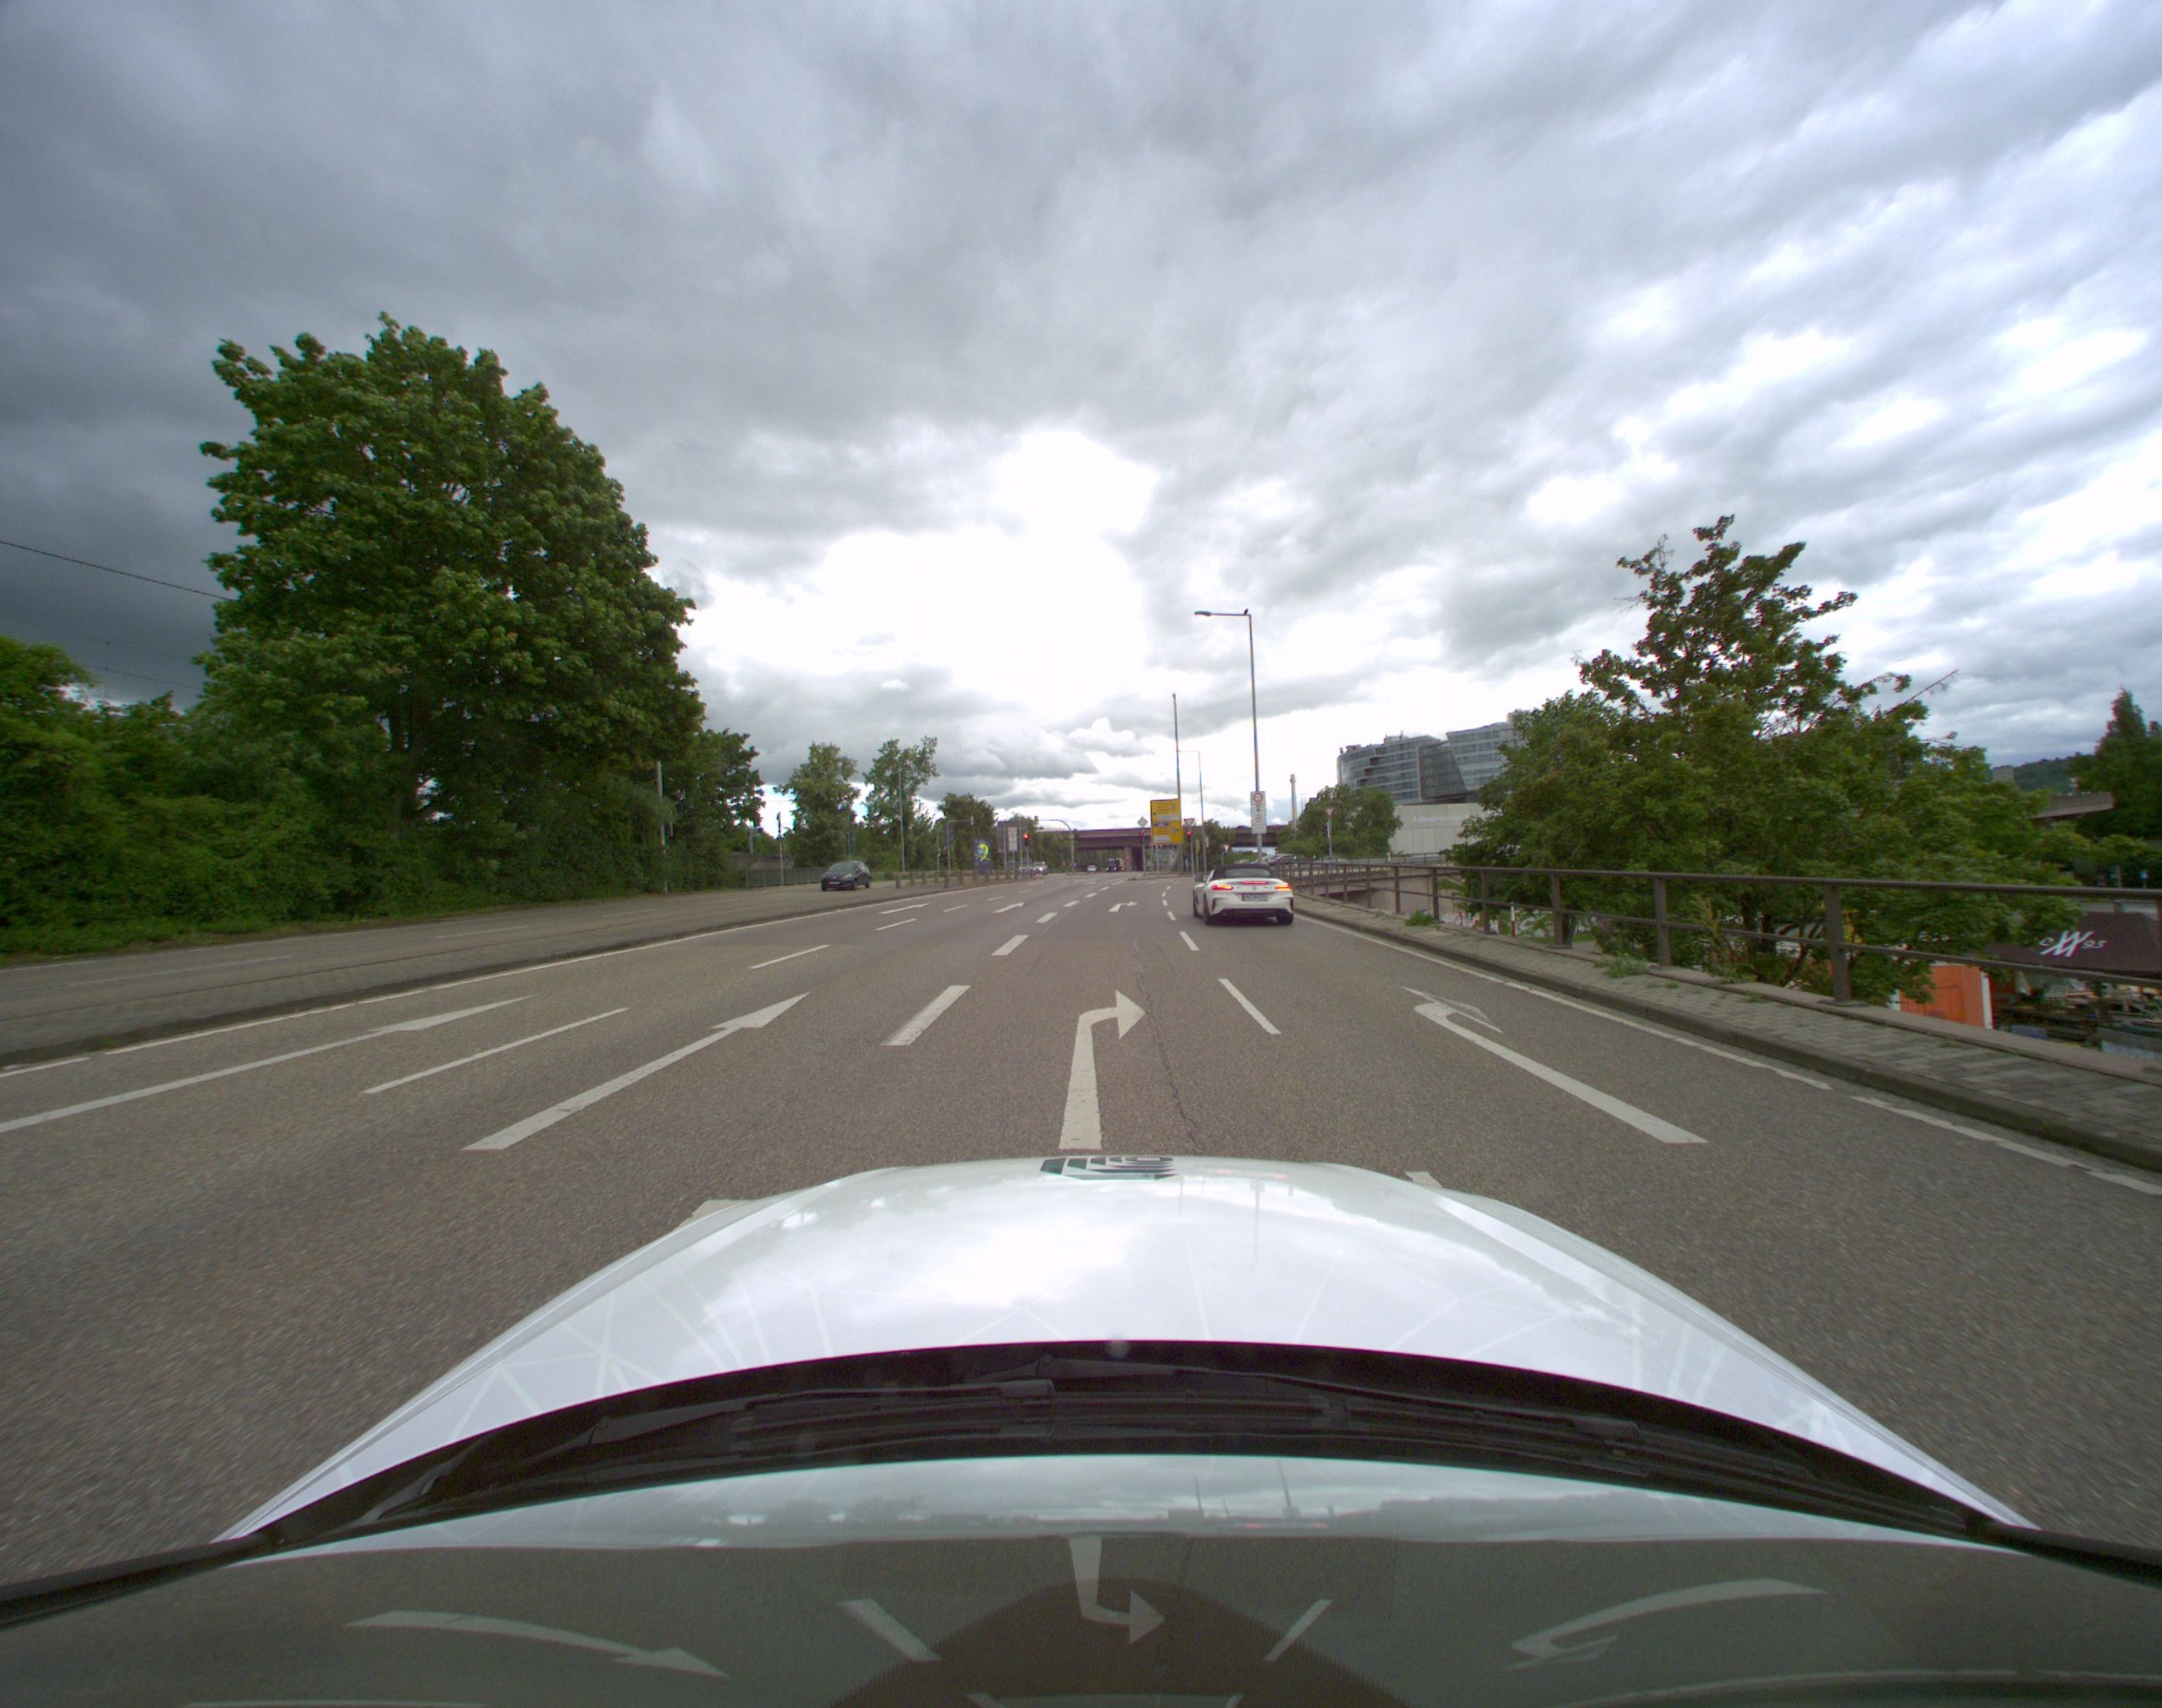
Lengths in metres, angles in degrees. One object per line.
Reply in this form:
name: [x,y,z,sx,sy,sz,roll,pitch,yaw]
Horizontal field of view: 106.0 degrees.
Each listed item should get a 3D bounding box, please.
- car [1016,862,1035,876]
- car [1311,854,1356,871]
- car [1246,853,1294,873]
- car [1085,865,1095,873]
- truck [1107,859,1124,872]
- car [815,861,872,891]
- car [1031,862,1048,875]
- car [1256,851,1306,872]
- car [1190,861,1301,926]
car: [-6.345,1.714,93.618,1.764,1.645,3.827,0,-1,2]
car: [27.540,0.940,88.870,4.349,1.571,2.003,-3,-3,6]
car: [18.955,0.898,81.783,4.349,1.758,2.003,-3,-3,6]
car: [1.755,3.006,162.935,1.732,1.537,3.677,-1,0,5]
truck: [8.923,2.973,209.996,2.905,3.146,10.139,0,-1,10]
car: [-12.026,1.084,41.453,1.753,1.484,3.486,0,0,3]
car: [-5.181,1.838,102.493,1.764,1.633,3.827,0,-1,2]
car: [19.109,0.735,78.010,4.349,1.758,2.003,-3,-3,6]
car: [3.592,0.827,18.445,1.867,1.309,3.875,-1,-1,2]
